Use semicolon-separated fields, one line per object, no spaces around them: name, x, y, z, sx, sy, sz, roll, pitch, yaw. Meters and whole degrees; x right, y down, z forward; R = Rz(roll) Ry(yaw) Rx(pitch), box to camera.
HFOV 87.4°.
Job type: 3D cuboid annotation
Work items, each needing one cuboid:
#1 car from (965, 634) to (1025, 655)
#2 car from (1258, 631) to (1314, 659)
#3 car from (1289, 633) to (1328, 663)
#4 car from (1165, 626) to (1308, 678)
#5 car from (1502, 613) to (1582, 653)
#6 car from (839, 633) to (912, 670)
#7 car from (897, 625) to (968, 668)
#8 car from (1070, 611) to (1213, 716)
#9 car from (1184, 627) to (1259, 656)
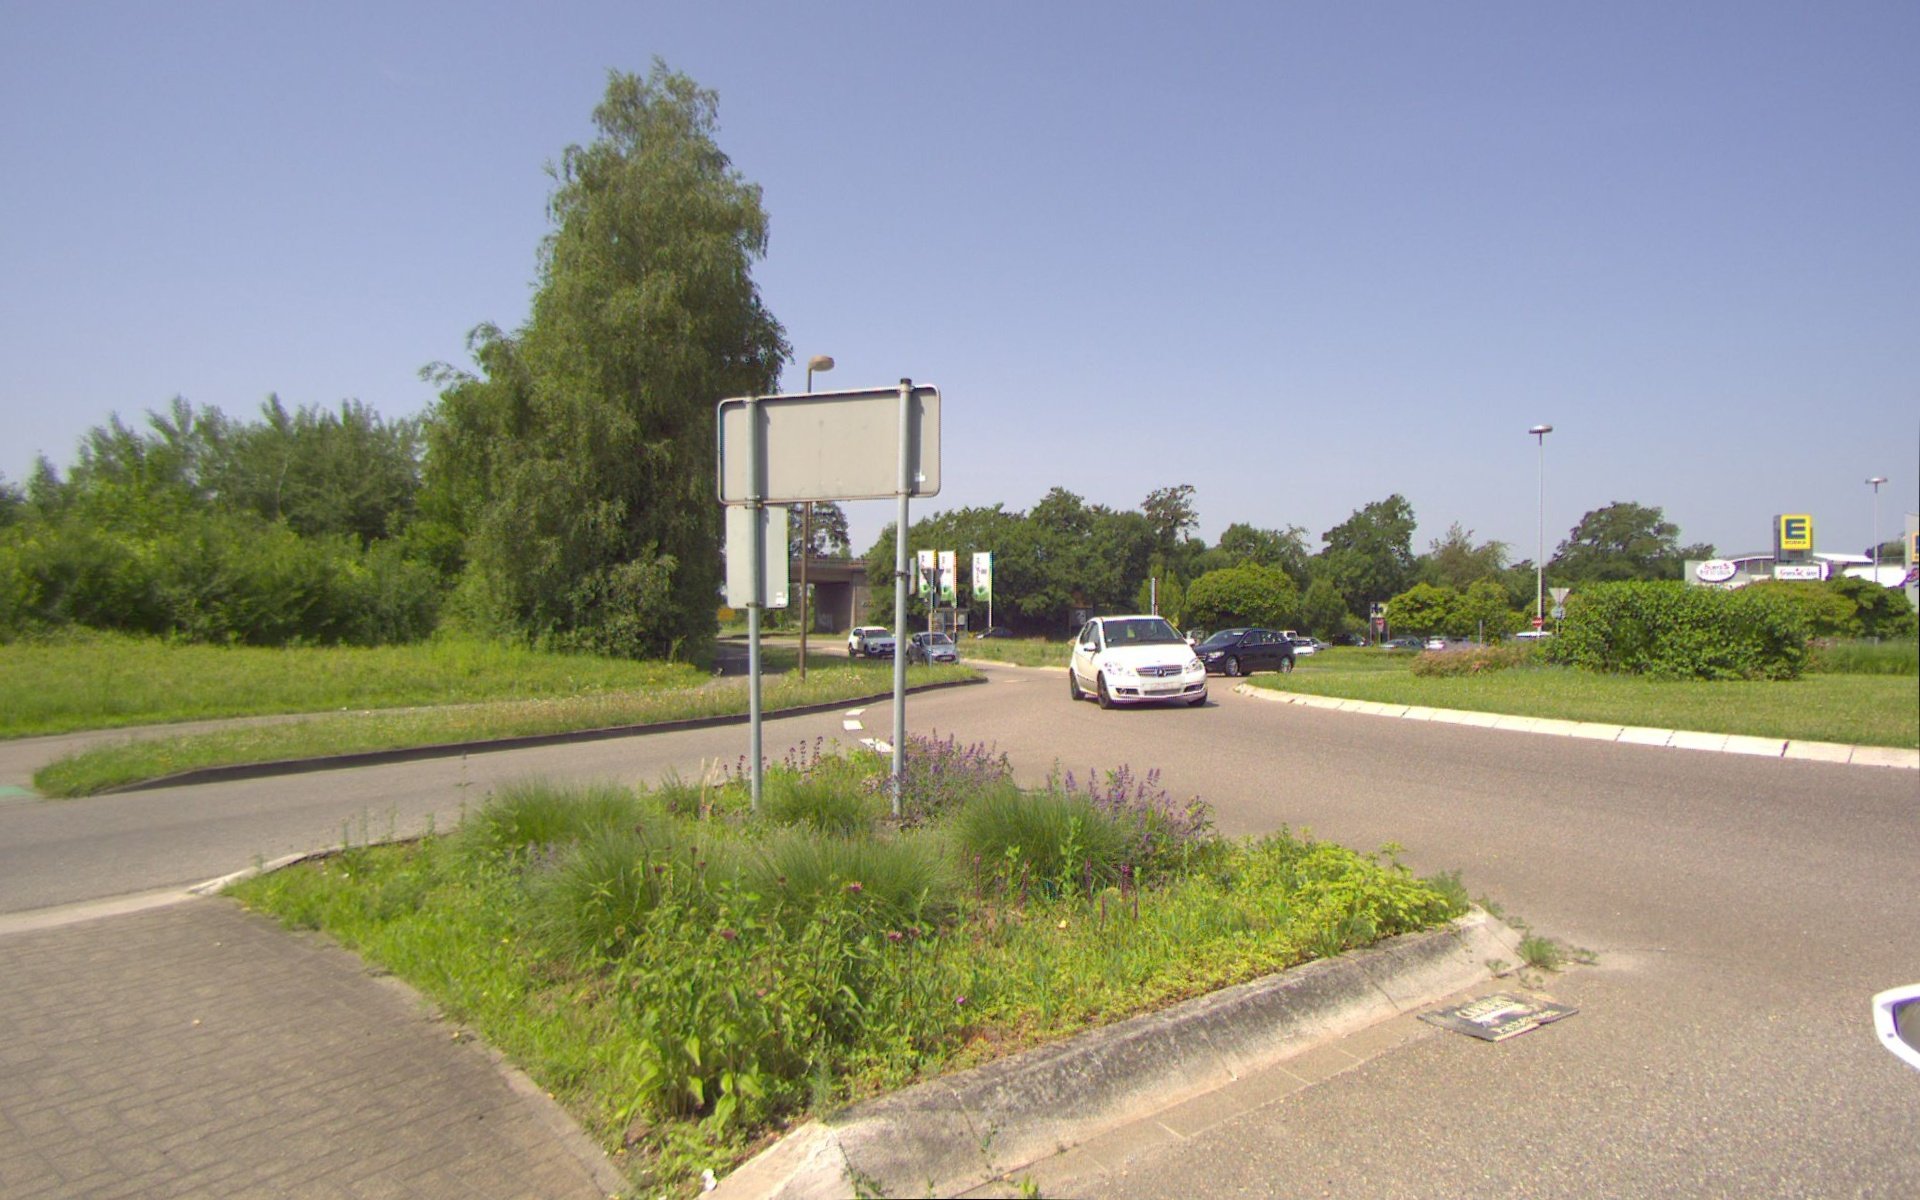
car;2.927;3.710;83.998;4.583;1.674;2.013;2;0;-30
car;19.692;2.706;60.755;1.576;1.517;2.798;3;-1;-45
car;19.476;2.657;56.261;1.553;1.517;4.568;2;-1;14
car;8.842;1.642;32.150;4.149;1.550;1.750;0;-3;-21
car;31.809;1.814;54.903;3.943;2.040;1.684;2;0;-23
car;-4.611;2.750;53.960;2.169;1.674;5.086;2;0;-27
car;-1.297;2.023;44.796;2.095;1.637;4.182;0;1;-18
car;3.119;1.038;18.034;1.752;1.625;3.892;0;0;-2
car;15.651;2.464;60.066;4.359;1.582;1.859;3;-1;-33
